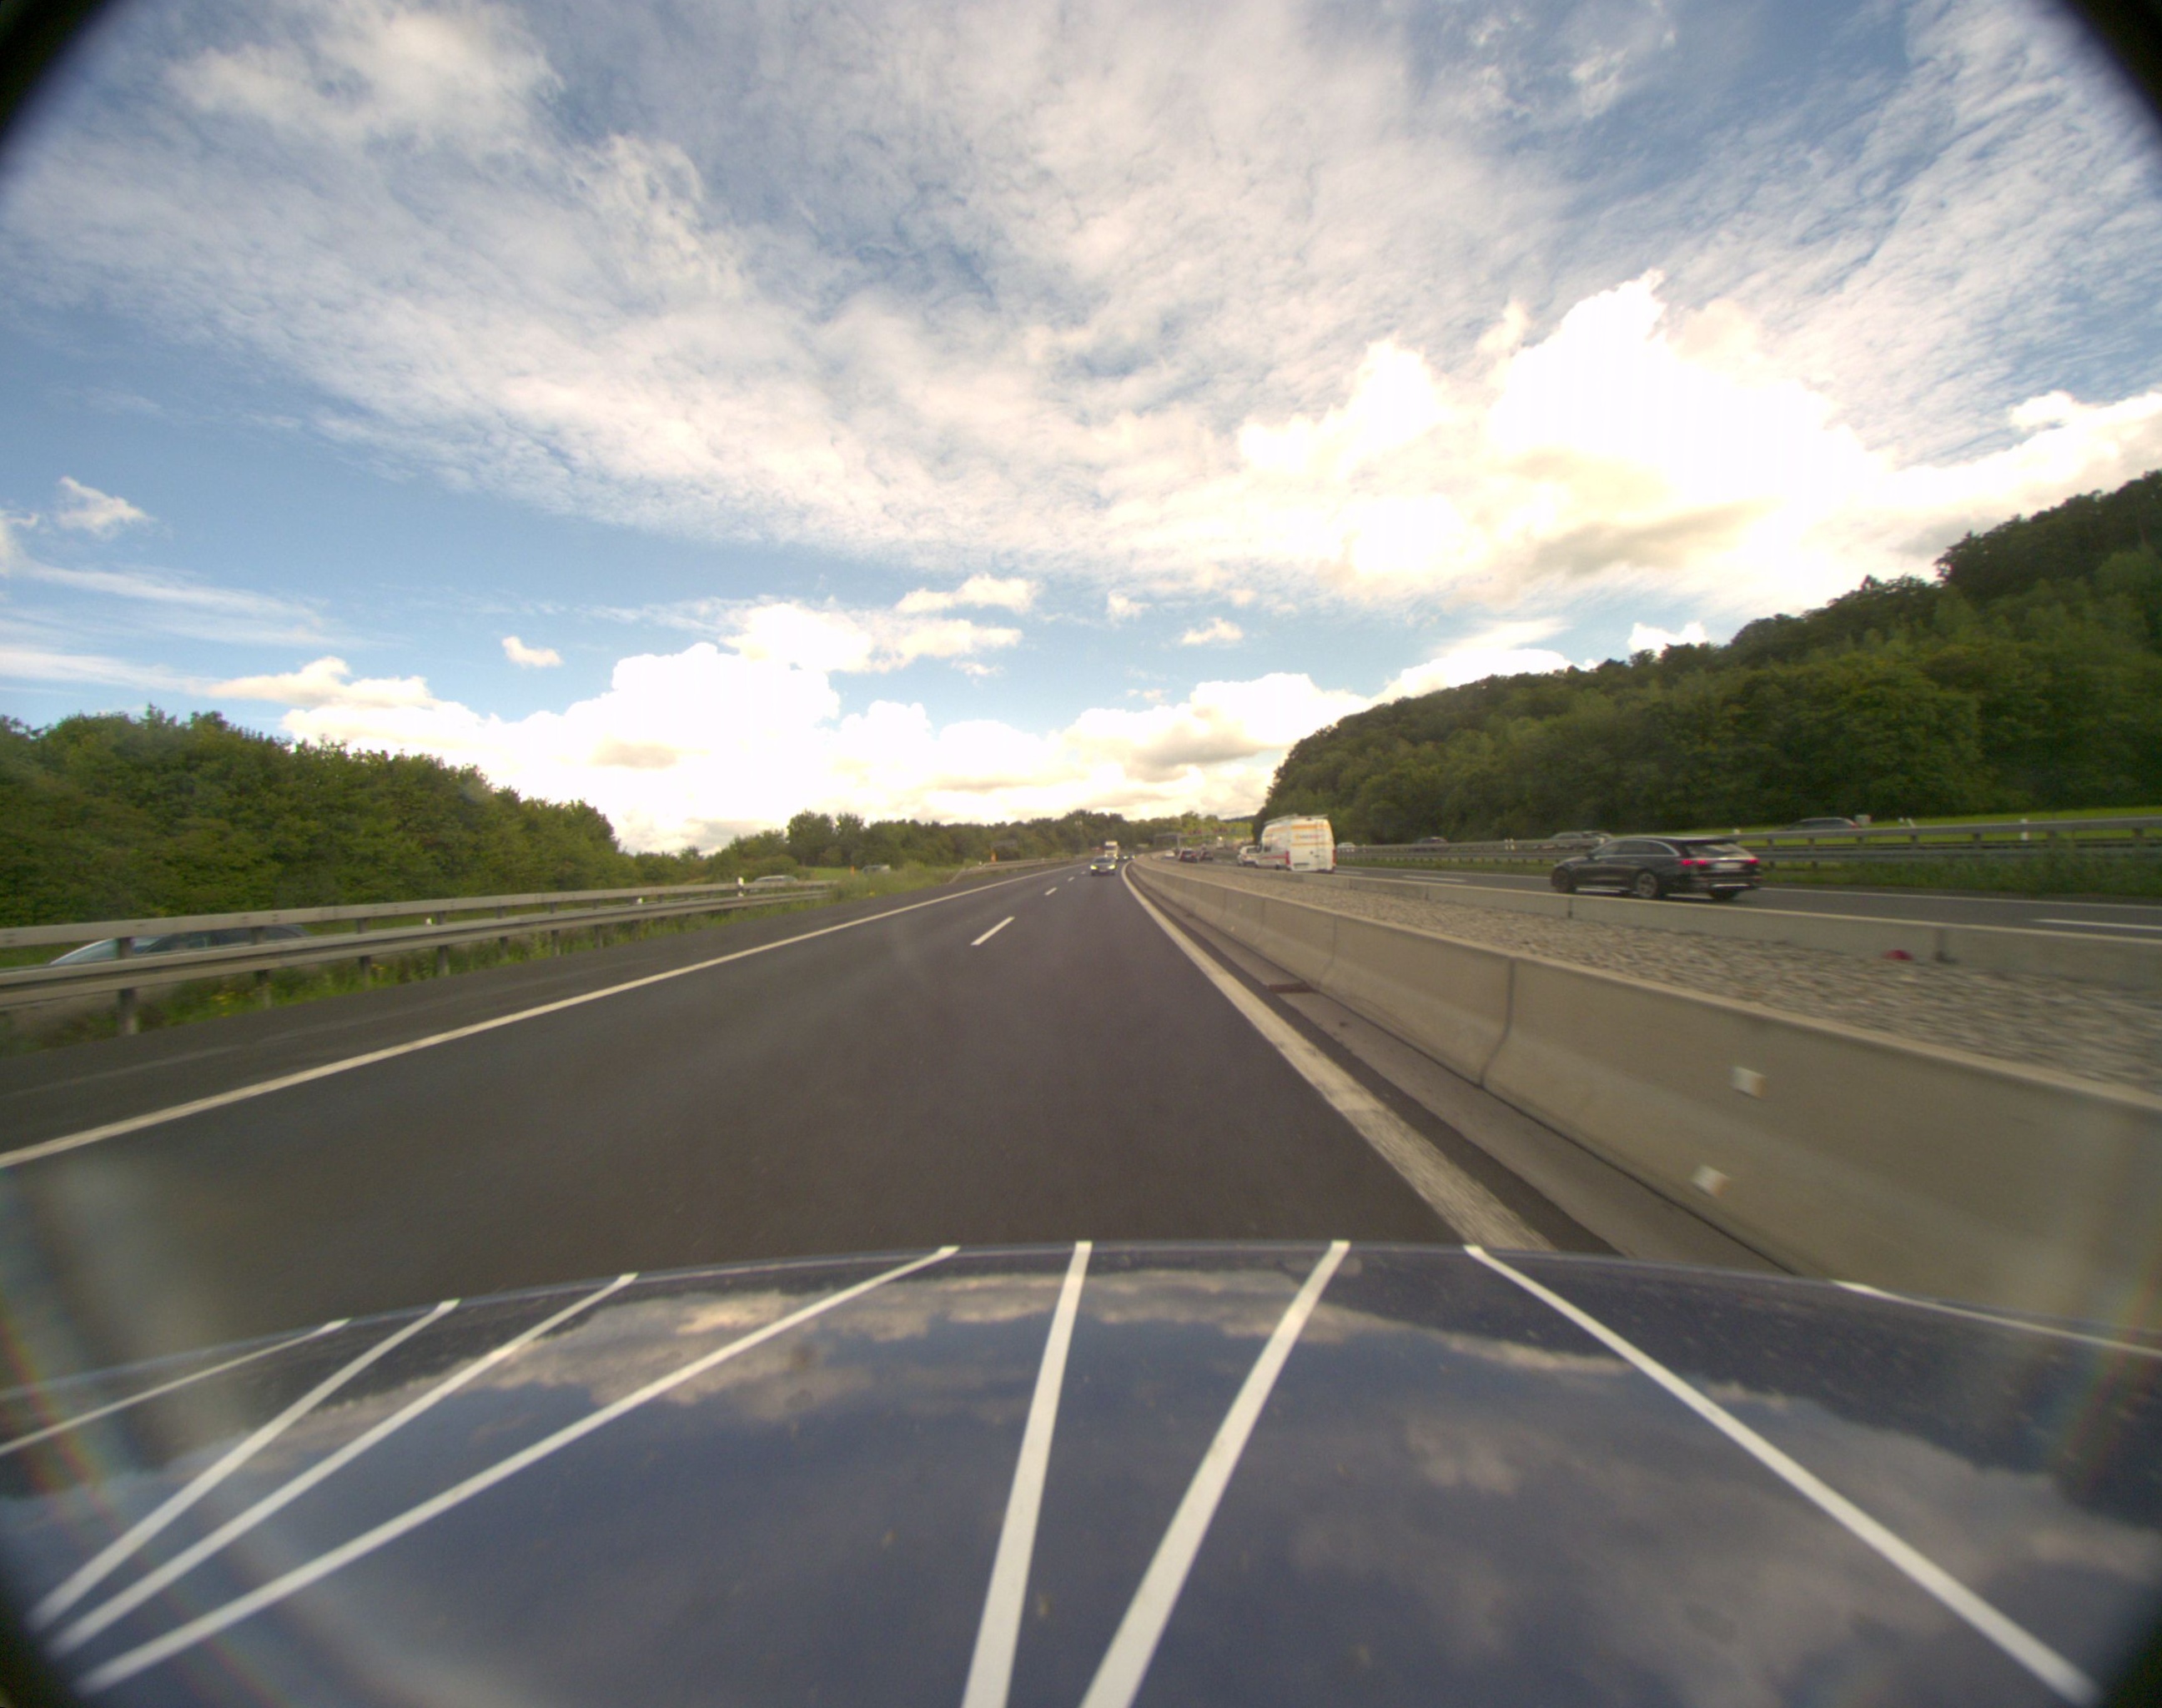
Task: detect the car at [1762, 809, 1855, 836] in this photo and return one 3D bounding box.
[{"bbox_3d":[47.185,-2.051,49.383,4.293,1.442,1.734,-3,1,43],"label":"car"}]

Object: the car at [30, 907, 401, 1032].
[{"bbox_3d":[-15.627,1.983,14.181,1.788,1.562,4.344,-3,1,2],"label":"car"}]

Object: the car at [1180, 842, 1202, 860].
[{"bbox_3d":[12.314,-0.350,85.487,1.998,1.909,5.150,-3,0,4],"label":"car"}]

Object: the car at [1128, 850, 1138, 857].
[{"bbox_3d":[11.428,-0.046,166.009,1.998,1.464,4.001,-3,1,4],"label":"car"}]

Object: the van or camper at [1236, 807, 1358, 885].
[{"bbox_3d":[9.259,-0.341,33.607,3.343,2.899,7.466,-3,0,2],"label":"van or camper"}]

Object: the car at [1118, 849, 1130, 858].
[{"bbox_3d":[7.649,-0.125,134.085,1.998,1.464,4.001,-3,0,4],"label":"car"}]

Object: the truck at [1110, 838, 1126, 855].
[{"bbox_3d":[8.318,-1.720,170.332,2.795,3.563,11.460,-2,2,7],"label":"truck"}]

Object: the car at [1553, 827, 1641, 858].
[{"bbox_3d":[24.890,-0.546,36.810,1.642,1.312,3.757,-3,0,0],"label":"car"}]

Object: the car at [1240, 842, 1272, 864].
[{"bbox_3d":[15.585,-0.075,67.992,1.998,1.804,4.241,-3,0,3],"label":"car"}]

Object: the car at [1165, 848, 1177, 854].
[{"bbox_3d":[19.012,-0.623,160.249,2.050,1.329,5.609,-2,0,3],"label":"car"}]

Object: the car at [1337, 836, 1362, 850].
[{"bbox_3d":[35.638,-1.467,100.967,1.939,1.662,5.226,-3,0,7],"label":"car"}]

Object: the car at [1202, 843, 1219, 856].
[{"bbox_3d":[18.622,-0.644,109.589,1.998,1.681,4.374,-2,0,4],"label":"car"}]

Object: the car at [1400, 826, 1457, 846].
[{"bbox_3d":[34.437,-1.779,75.515,2.402,1.761,5.238,-3,0,-12],"label":"car"}]

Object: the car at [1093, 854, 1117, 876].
[{"bbox_3d":[1.890,0.850,59.302,1.662,1.464,4.000,-3,1,3],"label":"car"}]

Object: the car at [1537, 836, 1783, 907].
[{"bbox_3d":[13.504,0.346,18.268,1.888,1.413,5.235,-1,0,-1],"label":"car"}]
